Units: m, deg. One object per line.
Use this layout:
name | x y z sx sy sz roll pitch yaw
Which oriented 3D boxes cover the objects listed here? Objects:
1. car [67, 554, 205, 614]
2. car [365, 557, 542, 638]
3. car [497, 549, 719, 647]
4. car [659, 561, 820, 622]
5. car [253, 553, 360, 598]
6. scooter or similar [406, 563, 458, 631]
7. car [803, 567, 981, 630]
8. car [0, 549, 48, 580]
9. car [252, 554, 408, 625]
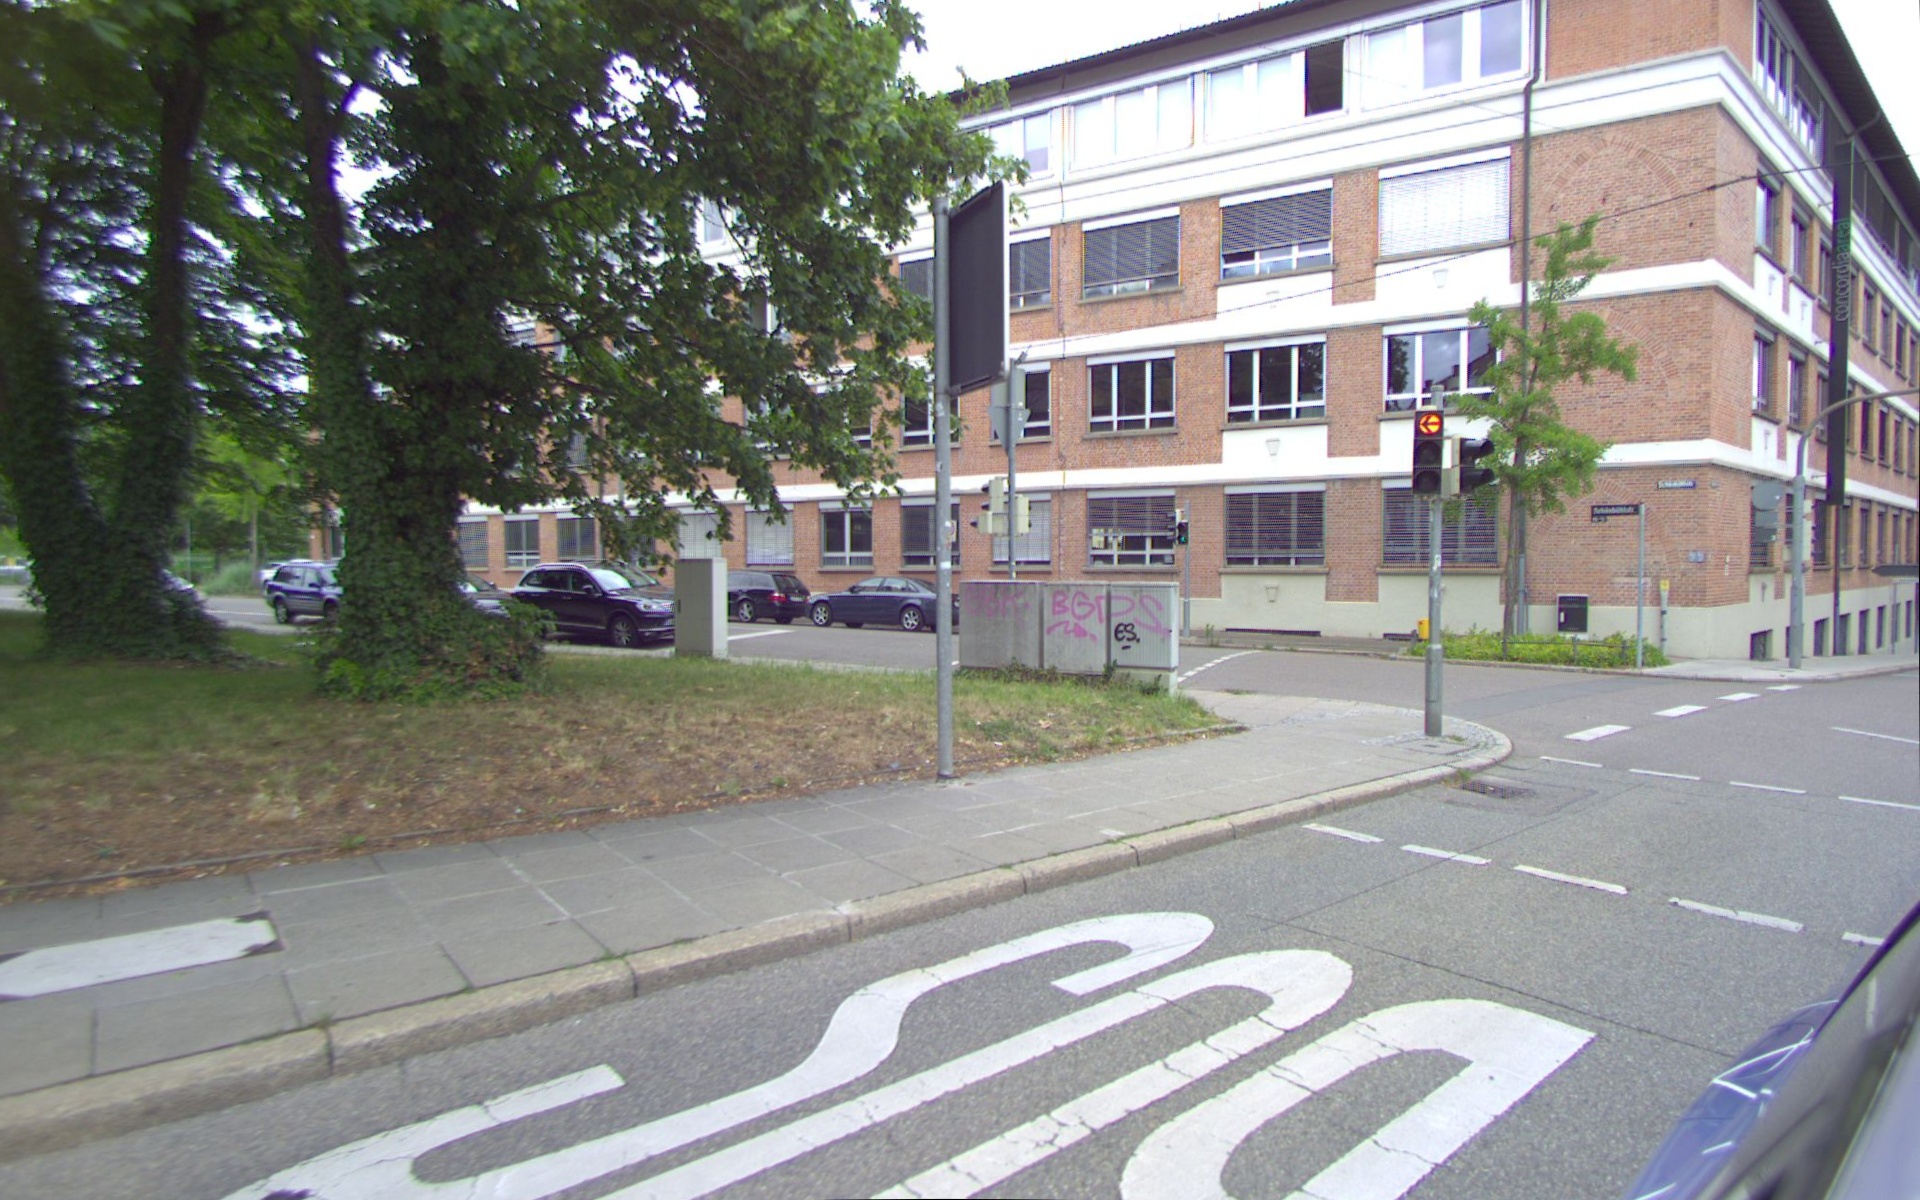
car | -26.472 -0.576 32.497 4.274 1.627 1.980 2 7 30
car | -12.248 -0.130 24.422 4.274 1.627 1.730 2 7 30
car | -7.616 -0.133 21.823 4.618 1.746 1.946 2 7 30
car | -6.341 -0.251 29.008 4.358 1.528 1.755 2 -1 28
car | -26.205 -0.986 40.556 4.222 1.568 1.703 2 -1 28
scooter or similar | -10.062 -0.070 19.266 1.095 1.245 0.338 2 1 31
car | -1.813 -0.037 26.705 4.380 1.423 1.755 2 -1 28
car | -52.366 -2.012 54.599 1.917 1.568 4.222 2 -1 25
car | -16.851 -0.339 27.015 4.274 1.627 1.681 2 7 30
